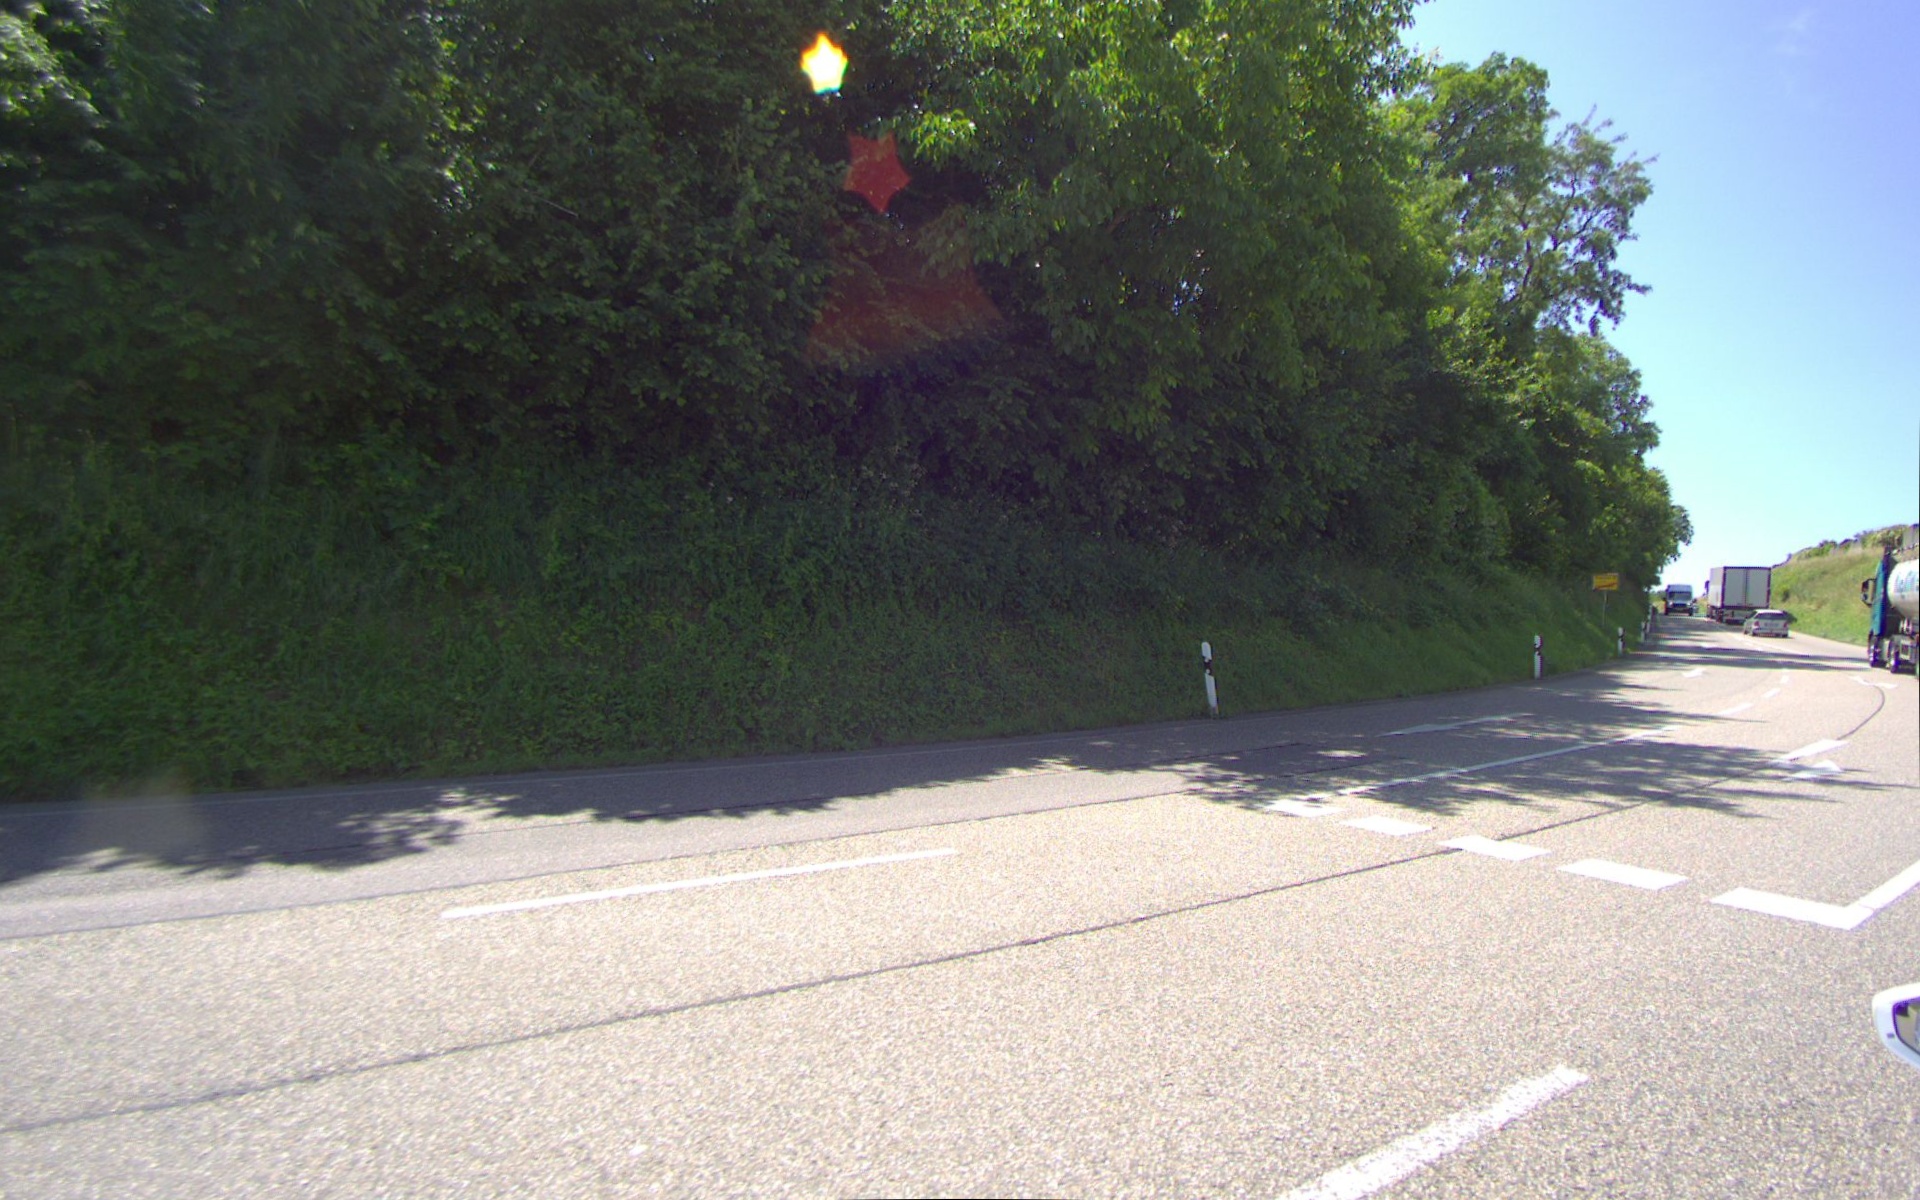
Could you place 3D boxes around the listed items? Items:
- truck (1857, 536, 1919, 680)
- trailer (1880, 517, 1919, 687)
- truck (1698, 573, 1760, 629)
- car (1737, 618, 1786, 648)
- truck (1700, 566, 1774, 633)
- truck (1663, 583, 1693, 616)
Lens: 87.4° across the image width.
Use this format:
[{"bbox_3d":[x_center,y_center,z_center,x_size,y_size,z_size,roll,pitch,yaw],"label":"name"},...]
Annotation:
[{"bbox_3d":[29.392,0.230,30.216,2.690,3.982,7.240,0,0,35],"label":"truck"},{"bbox_3d":[26.185,0.059,25.825,2.628,4.244,11.857,0,-1,37],"label":"trailer"},{"bbox_3d":[60.337,0.075,79.004,3.147,3.986,8.226,4,2,34],"label":"truck"},{"bbox_3d":[46.720,1.879,58.588,1.624,1.529,3.631,5,2,31],"label":"car"},{"bbox_3d":[57.098,-0.107,74.118,3.147,4.368,11.764,6,4,34],"label":"truck"},{"bbox_3d":[63.509,-0.086,88.904,2.026,2.723,5.960,3,3,35],"label":"truck"}]
